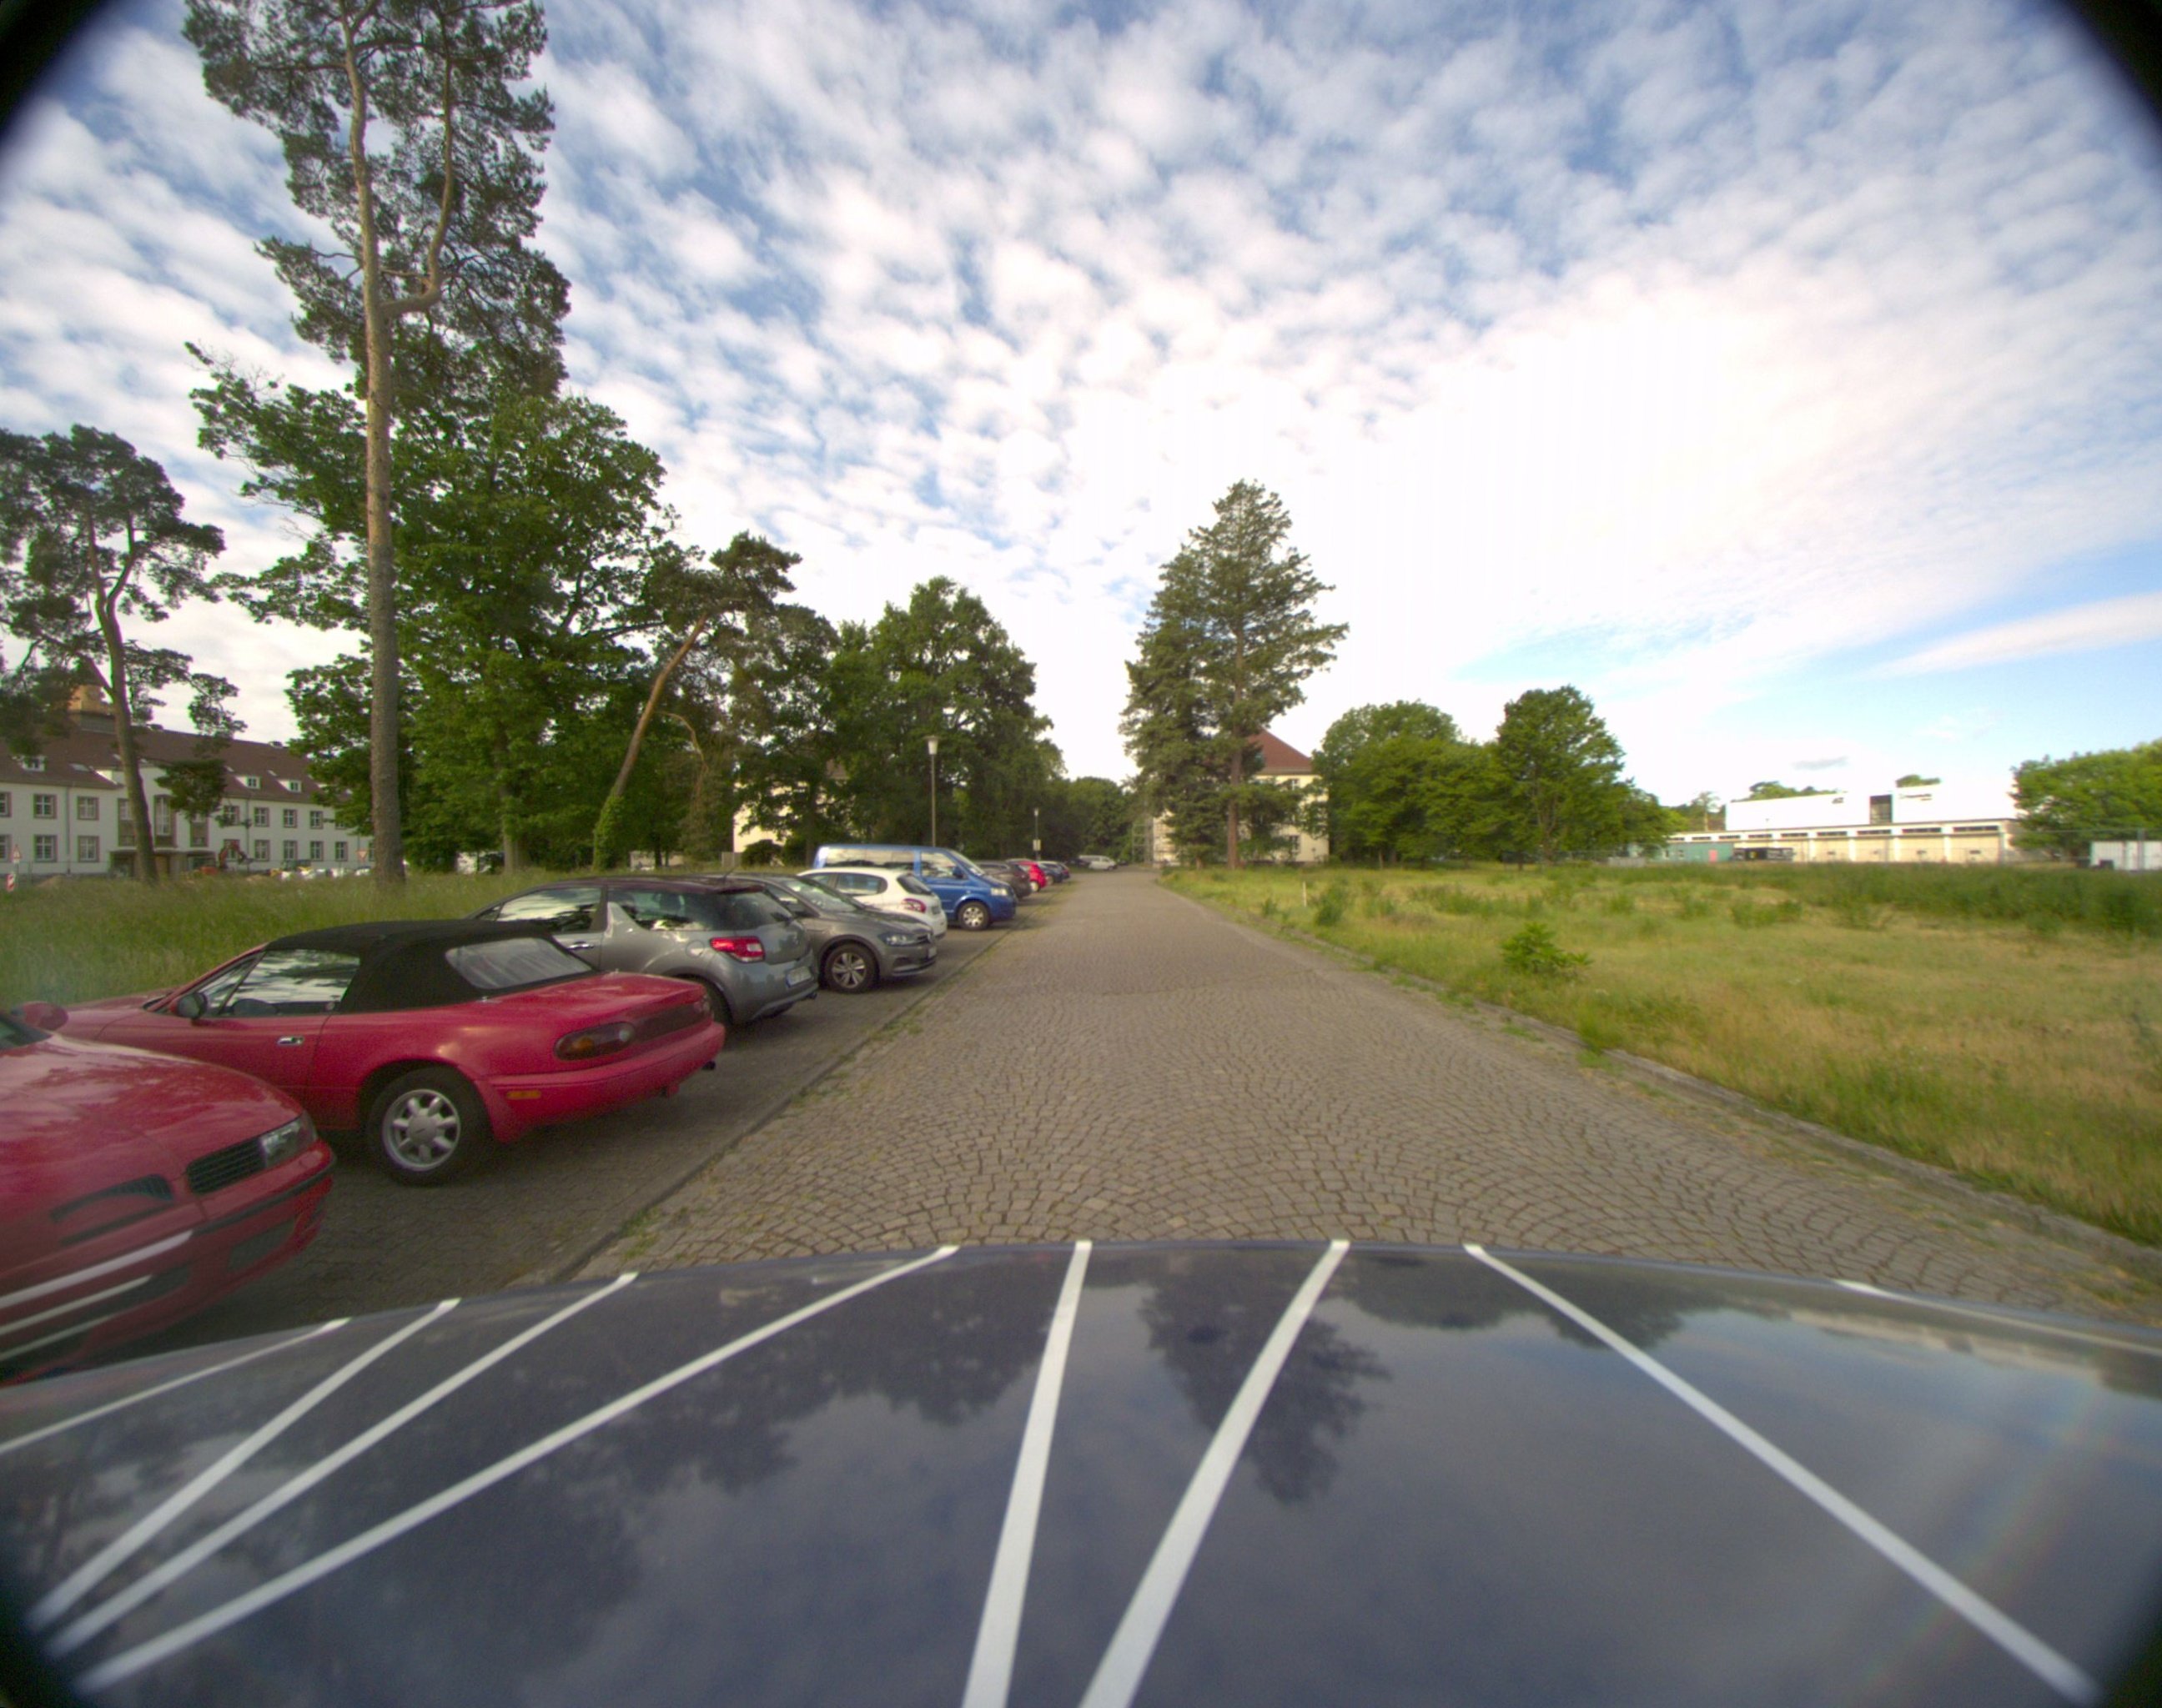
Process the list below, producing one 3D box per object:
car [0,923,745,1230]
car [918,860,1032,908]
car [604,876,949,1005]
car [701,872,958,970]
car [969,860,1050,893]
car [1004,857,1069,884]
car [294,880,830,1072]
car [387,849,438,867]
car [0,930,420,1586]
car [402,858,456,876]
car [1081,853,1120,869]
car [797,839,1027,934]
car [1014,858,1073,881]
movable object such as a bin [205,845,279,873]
[{"bbox_3d":[-4.061,1.101,4.353,3.554,1.279,1.609,0,-1,3],"label":"car"},{"bbox_3d":[-3.681,1.032,26.850,3.838,1.592,1.581,0,0,-2],"label":"car"},{"bbox_3d":[-3.785,1.055,9.832,3.780,1.457,1.643,0,0,4],"label":"car"},{"bbox_3d":[-4.119,1.088,12.791,3.761,1.490,1.581,0,0,4],"label":"car"},{"bbox_3d":[-3.455,1.087,37.209,3.838,1.516,1.581,0,0,-2],"label":"car"},{"bbox_3d":[-2.744,1.030,47.636,3.835,1.609,1.582,0,0,7],"label":"car"},{"bbox_3d":[-4.511,1.029,6.996,3.837,1.494,1.604,0,0,2],"label":"car"},{"bbox_3d":[-78.949,0.452,89.819,2.217,2.002,4.002,0,0,7],"label":"car"},{"bbox_3d":[-4.558,1.008,2.041,4.117,1.415,1.720,-1,0,2],"label":"car"},{"bbox_3d":[-65.541,1.250,76.422,1.846,1.674,3.938,1,0,5],"label":"car"},{"bbox_3d":[2.529,0.890,100.952,5.129,2.002,1.804,0,0,0],"label":"car"},{"bbox_3d":[-3.913,0.725,18.212,4.953,2.011,2.061,1,0,3],"label":"car"},{"bbox_3d":[-2.572,1.040,52.368,3.835,1.520,1.674,0,0,7],"label":"car"},{"bbox_3d":[-86.846,0.509,78.787,1.999,2.752,5.202,0,0,-3],"label":"movable object such as a bin"}]
